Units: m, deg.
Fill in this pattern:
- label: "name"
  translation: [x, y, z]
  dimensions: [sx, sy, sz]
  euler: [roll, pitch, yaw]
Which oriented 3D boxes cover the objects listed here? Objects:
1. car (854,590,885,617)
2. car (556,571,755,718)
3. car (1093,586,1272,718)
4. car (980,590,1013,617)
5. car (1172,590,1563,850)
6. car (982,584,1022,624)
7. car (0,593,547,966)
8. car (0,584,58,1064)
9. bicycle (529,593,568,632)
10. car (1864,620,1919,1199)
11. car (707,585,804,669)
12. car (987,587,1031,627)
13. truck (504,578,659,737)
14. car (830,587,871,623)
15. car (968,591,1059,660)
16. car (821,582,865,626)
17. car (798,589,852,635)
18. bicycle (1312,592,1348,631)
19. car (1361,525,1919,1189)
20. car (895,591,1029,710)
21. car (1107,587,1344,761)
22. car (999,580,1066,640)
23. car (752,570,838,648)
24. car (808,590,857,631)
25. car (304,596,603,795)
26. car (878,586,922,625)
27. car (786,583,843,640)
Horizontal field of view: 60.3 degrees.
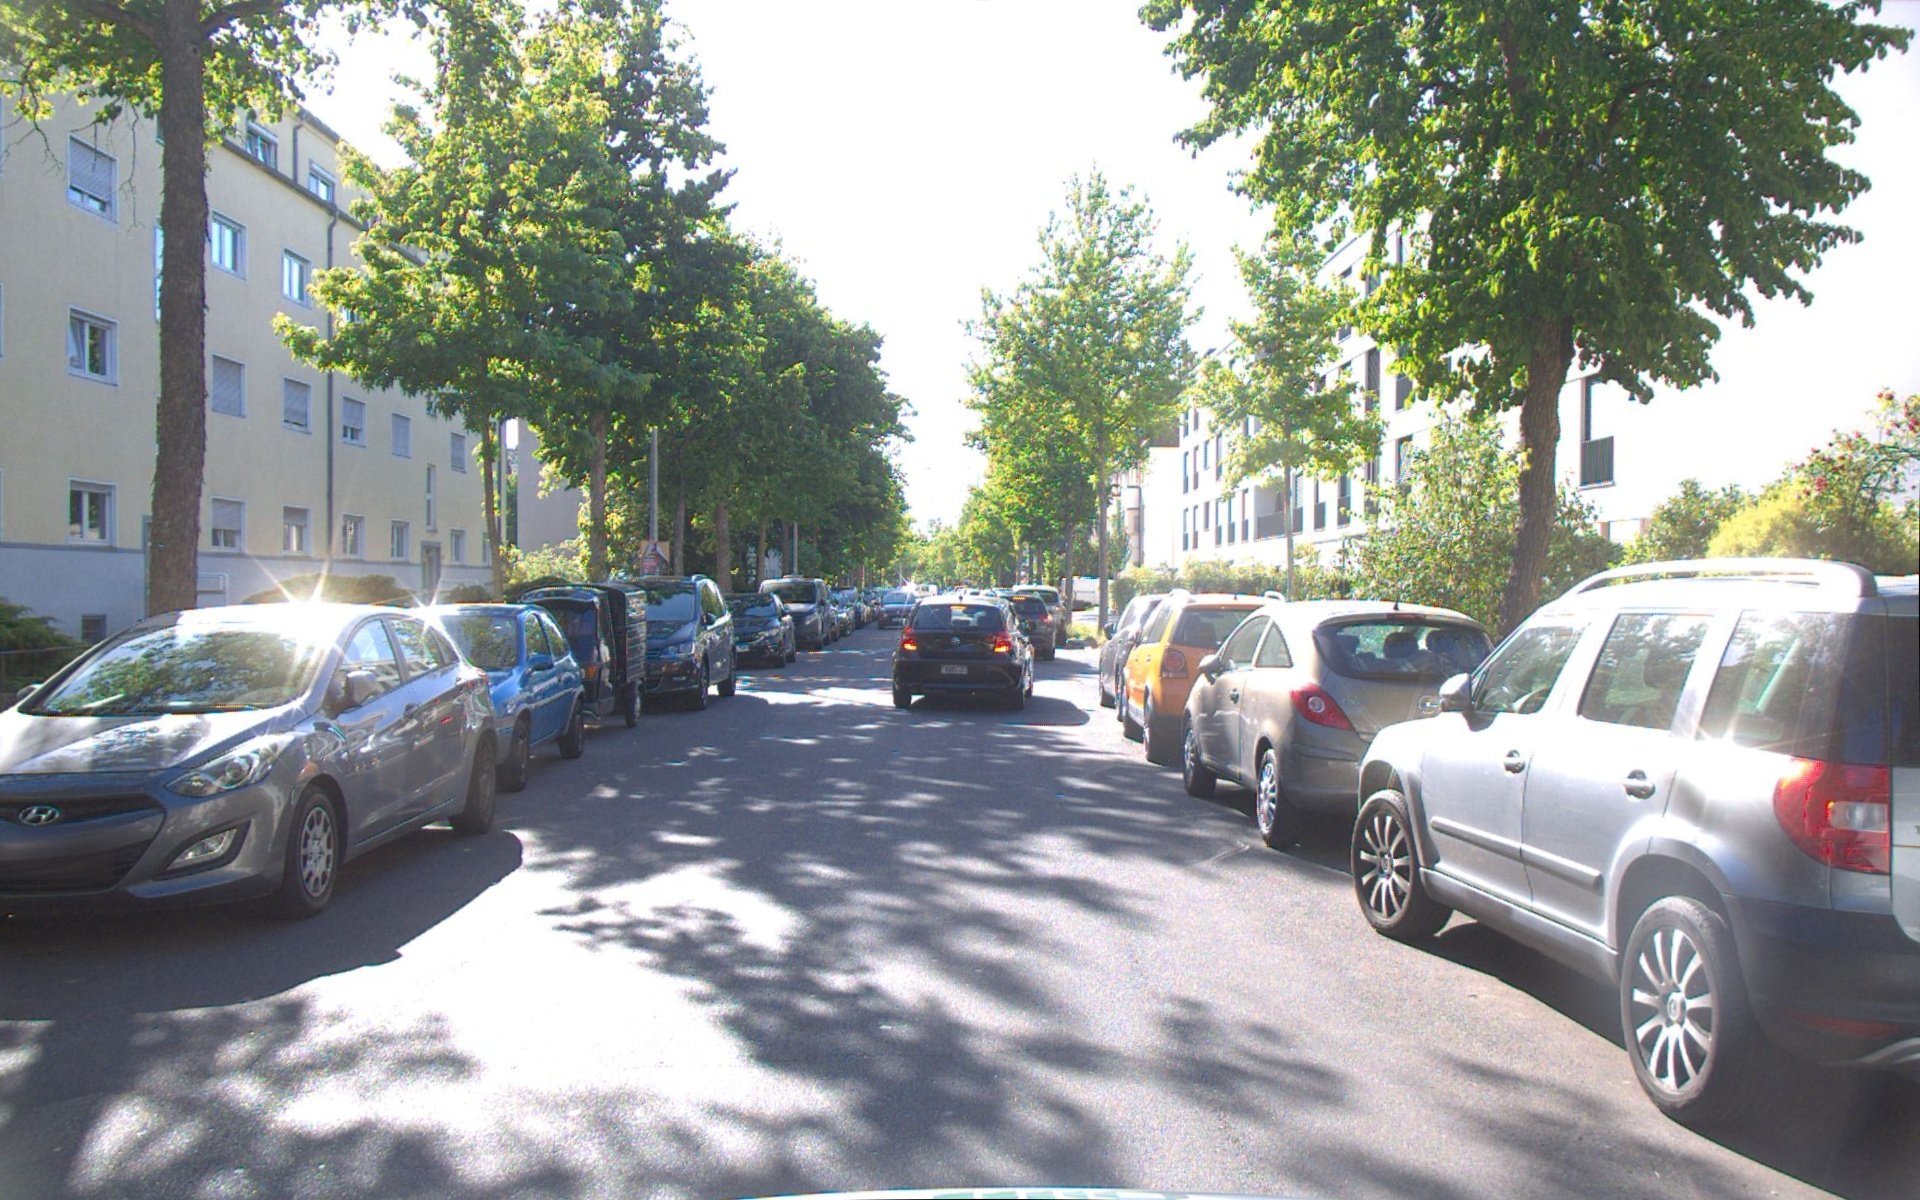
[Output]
- label: "car"
  translation: [-5.085, 0.187, 93.224]
  dimensions: [1.579, 1.416, 3.864]
  euler: [-1, 0, -2]
- label: "car"
  translation: [-4.012, 0.515, 22.621]
  dimensions: [1.812, 1.710, 4.975]
  euler: [-3, 1, -1]
- label: "car"
  translation: [2.707, 0.579, 20.923]
  dimensions: [1.666, 1.474, 4.082]
  euler: [-1, 0, 0]
- label: "car"
  translation: [1.944, 0.172, 89.549]
  dimensions: [1.685, 1.403, 3.851]
  euler: [2, 0, 0]
- label: "car"
  translation: [2.576, 0.673, 11.293]
  dimensions: [1.616, 1.453, 3.610]
  euler: [-1, 0, -3]
- label: "car"
  translation: [1.876, 0.171, 74.429]
  dimensions: [1.685, 1.669, 3.851]
  euler: [2, 0, 0]
- label: "car"
  translation: [-3.798, 0.741, 9.124]
  dimensions: [1.755, 1.469, 4.688]
  euler: [-2, 1, 1]
- label: "car"
  translation: [-3.903, 0.771, 3.507]
  dimensions: [1.587, 1.542, 4.269]
  euler: [-2, 0, 0]
- label: "bicycle"
  translation: [-11.108, 0.317, 44.687]
  dimensions: [0.582, 1.009, 1.928]
  euler: [-1, 0, -1]
- label: "car"
  translation: [2.857, 0.775, 1.534]
  dimensions: [1.596, 1.450, 4.367]
  euler: [-1, 0, -1]
- label: "car"
  translation: [-4.200, 0.518, 34.574]
  dimensions: [1.477, 1.575, 4.777]
  euler: [-2, 0, -1]
- label: "car"
  translation: [1.993, 0.269, 68.423]
  dimensions: [1.685, 1.555, 4.000]
  euler: [2, 0, 0]
- label: "truck"
  translation: [-4.058, 0.575, 17.989]
  dimensions: [1.061, 1.605, 2.432]
  euler: [0, 0, 1]
- label: "car"
  translation: [-4.758, 0.190, 72.249]
  dimensions: [1.579, 1.478, 3.864]
  euler: [-1, 0, -2]
- label: "car"
  translation: [1.178, 0.544, 37.903]
  dimensions: [1.617, 1.450, 3.997]
  euler: [-1, 1, -5]
- label: "car"
  translation: [-4.679, 0.145, 66.547]
  dimensions: [1.579, 1.708, 4.233]
  euler: [-1, 0, -2]
- label: "car"
  translation: [-4.539, 0.381, 56.015]
  dimensions: [1.579, 1.452, 4.057]
  euler: [-1, 0, -2]
- label: "bicycle"
  translation: [10.512, 0.311, 47.050]
  dimensions: [0.535, 1.073, 1.690]
  euler: [-1, 0, -3]
- label: "car"
  translation: [2.882, 0.637, 6.179]
  dimensions: [1.616, 1.684, 3.844]
  euler: [0, 0, -4]
- label: "car"
  translation: [-0.015, 0.606, 21.914]
  dimensions: [1.616, 1.421, 3.411]
  euler: [-1, 1, -1]
- label: "car"
  translation: [2.482, 0.621, 16.353]
  dimensions: [1.603, 1.480, 4.099]
  euler: [0, 1, -1]
- label: "car"
  translation: [2.073, 0.276, 48.294]
  dimensions: [1.810, 1.659, 4.410]
  euler: [1, 0, 1]
- label: "car"
  translation: [-4.424, 0.205, 45.000]
  dimensions: [1.789, 1.938, 5.141]
  euler: [-2, 0, 0]
- label: "car"
  translation: [-4.674, 0.367, 61.107]
  dimensions: [1.579, 1.452, 3.724]
  euler: [-1, 0, -2]
- label: "car"
  translation: [-4.106, 0.695, 13.963]
  dimensions: [1.490, 1.419, 3.725]
  euler: [0, 0, -2]
- label: "car"
  translation: [-2.316, 0.212, 64.507]
  dimensions: [1.474, 1.451, 3.178]
  euler: [-1, 0, 2]
- label: "car"
  translation: [-4.430, 0.319, 50.708]
  dimensions: [1.580, 1.639, 4.227]
  euler: [-1, 0, -3]
